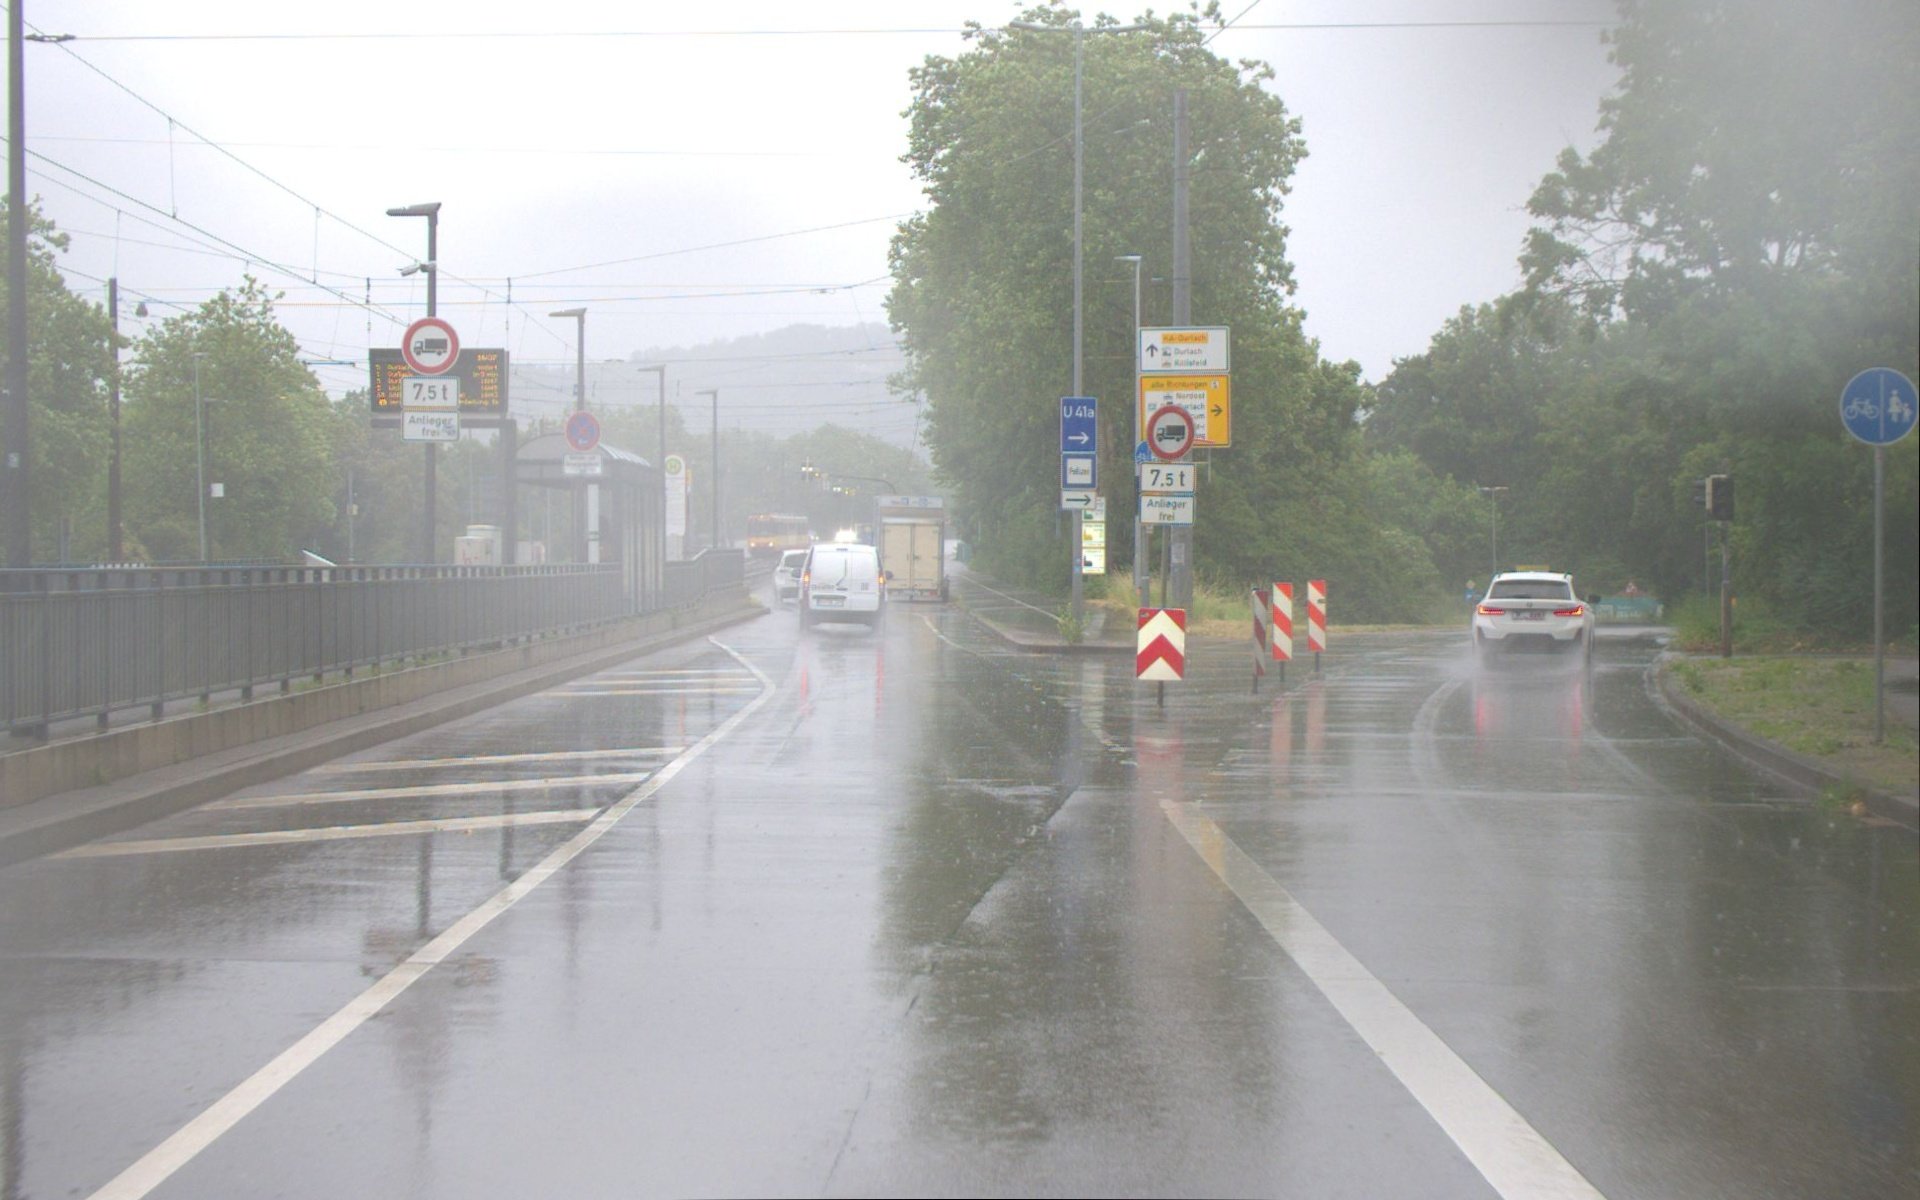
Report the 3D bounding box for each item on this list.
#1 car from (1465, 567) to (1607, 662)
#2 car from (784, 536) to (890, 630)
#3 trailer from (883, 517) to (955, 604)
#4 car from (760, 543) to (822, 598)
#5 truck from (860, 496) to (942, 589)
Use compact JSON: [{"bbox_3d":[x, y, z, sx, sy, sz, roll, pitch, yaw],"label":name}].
[{"bbox_3d":[9.120,0.197,54.247,1.889,1.426,3.997,1,1,14],"label":"car"},{"bbox_3d":[-2.544,-0.361,70.522,1.993,1.842,4.001,1,1,-4],"label":"car"},{"bbox_3d":[-1.311,-1.265,112.459,2.166,2.748,5.676,1,0,1],"label":"trailer"},{"bbox_3d":[-5.169,-0.894,105.812,1.786,1.637,3.968,1,0,-1],"label":"car"},{"bbox_3d":[-2.511,-2.346,143.601,2.775,3.692,9.854,1,0,-4],"label":"truck"}]
